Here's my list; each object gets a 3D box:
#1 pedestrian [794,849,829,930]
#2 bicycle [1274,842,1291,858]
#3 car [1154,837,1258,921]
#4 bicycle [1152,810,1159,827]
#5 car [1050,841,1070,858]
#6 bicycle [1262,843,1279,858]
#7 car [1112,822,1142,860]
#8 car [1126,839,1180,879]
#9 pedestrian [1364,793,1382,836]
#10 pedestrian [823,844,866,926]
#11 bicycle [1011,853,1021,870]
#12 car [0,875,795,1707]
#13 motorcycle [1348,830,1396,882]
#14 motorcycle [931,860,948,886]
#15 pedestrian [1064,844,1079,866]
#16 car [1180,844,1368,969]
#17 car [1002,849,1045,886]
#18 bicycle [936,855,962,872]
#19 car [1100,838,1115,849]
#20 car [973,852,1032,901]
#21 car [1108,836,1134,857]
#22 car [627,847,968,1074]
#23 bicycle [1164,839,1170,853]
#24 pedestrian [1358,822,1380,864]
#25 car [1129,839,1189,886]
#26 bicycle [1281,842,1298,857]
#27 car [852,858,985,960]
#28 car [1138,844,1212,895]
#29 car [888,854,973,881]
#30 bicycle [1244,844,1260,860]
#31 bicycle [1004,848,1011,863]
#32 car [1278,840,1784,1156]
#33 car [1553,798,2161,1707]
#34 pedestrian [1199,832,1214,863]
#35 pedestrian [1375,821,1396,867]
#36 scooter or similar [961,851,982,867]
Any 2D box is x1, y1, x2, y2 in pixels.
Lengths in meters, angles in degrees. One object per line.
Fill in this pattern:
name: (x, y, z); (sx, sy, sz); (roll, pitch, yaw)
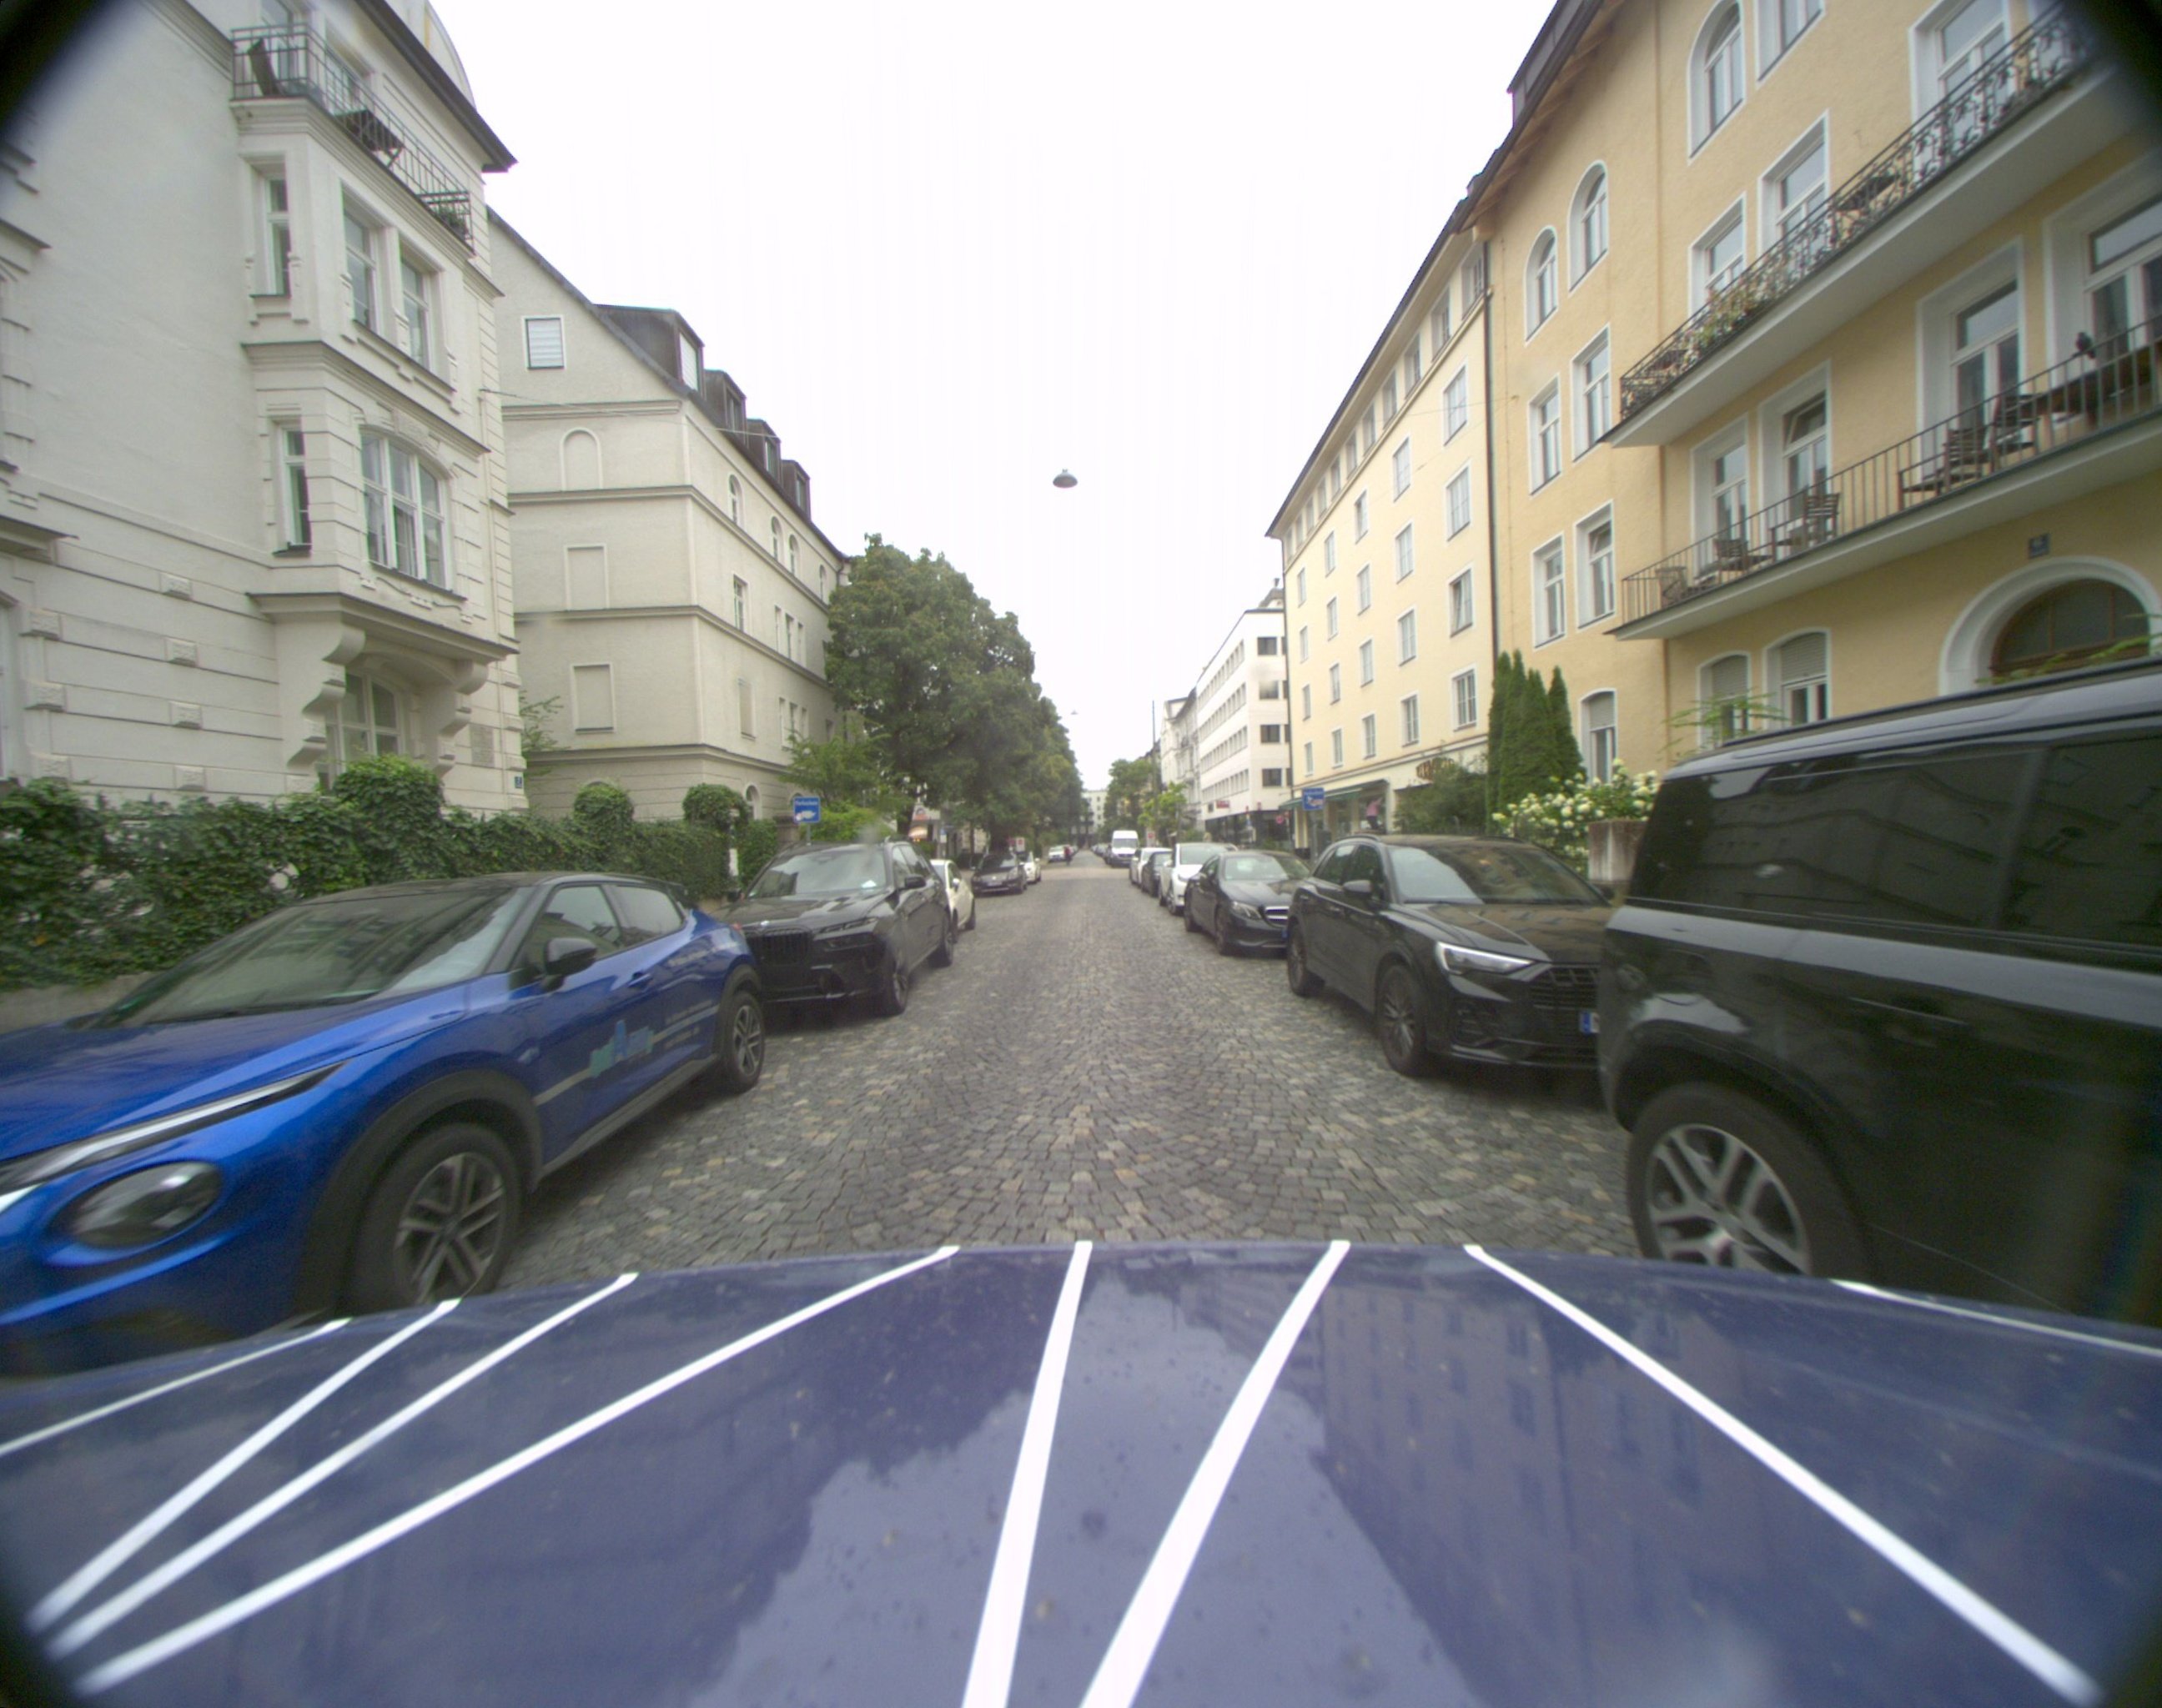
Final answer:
pedestrian: (-6.184, 0.793, 17.431); (0.630, 1.798, 0.659); (-4, 2, -21)
bicycle: (12.945, -0.272, 48.909); (0.398, 0.963, 1.893); (-4, 2, -5)
car: (2.823, 0.476, 18.071); (1.778, 1.638, 4.390); (-3, 2, 1)
bicycle: (5.183, -2.486, 52.956); (0.256, 1.120, 1.806); (-3, 2, 0)
car: (-2.275, -0.502, 83.547); (1.925, 1.676, 4.632); (-3, 2, 1)
bicycle: (12.152, -0.234, 48.820); (0.398, 0.963, 1.893); (-4, 2, -5)
car: (3.260, -0.972, 54.470); (1.982, 2.560, 5.793); (-1, 2, 2)
car: (3.220, 0.169, 34.859); (1.857, 1.577, 4.746); (-3, 2, -1)
pedestrian: (11.190, -1.506, 29.103); (0.478, 1.633, 0.497); (-3, 2, 5)
pedestrian: (-5.440, 0.702, 17.520); (0.577, 1.840, 0.682); (-3, 2, 8)
bicycle: (-4.853, 0.538, 56.679); (0.389, 1.140, 1.590); (-2, 2, 7)
car: (-2.987, 1.022, 3.488); (1.713, 1.473, 4.248); (-5, 2, -2)
motorcycle: (6.989, 0.028, 18.308); (0.492, 1.187, 1.579); (-3, 2, 0)
motorcycle: (-6.371, 0.842, 34.191); (0.363, 1.084, 1.403); (-3, 2, 3)
pedestrian: (-0.790, 0.104, 63.816); (1.105, 1.768, 1.263); (-3, 2, 1)
car: (2.734, 0.638, 11.812); (1.778, 1.421, 4.389); (-3, 2, 1)
car: (-2.586, 0.559, 34.821); (1.505, 1.463, 3.794); (-3, 2, 2)
bicycle: (-9.306, 0.664, 53.513); (1.605, 1.064, 0.738); (-1, 5, 3)
car: (3.715, -1.511, 108.473); (1.886, 1.411, 4.807); (-3, 1, 0)
car: (-2.847, 0.766, 28.387); (1.652, 1.414, 4.630); (-6, 2, -1)
car: (3.120, -0.602, 60.033); (1.666, 1.474, 3.980); (-3, 2, -2)
car: (-2.719, 0.848, 8.953); (1.880, 1.663, 5.489); (-3, 2, 0)
bicycle: (7.879, -0.755, 69.481); (0.361, 1.168, 1.910); (-3, 2, 3)
pedestrian: (11.311, -0.432, 29.845); (0.523, 1.633, 0.629); (-3, 2, 0)
car: (2.918, 0.256, 29.341); (1.778, 1.527, 4.539); (-3, 2, 0)
bicycle: (13.410, -0.303, 48.957); (0.398, 0.963, 1.893); (-4, 2, -5)
car: (-2.967, 0.935, 14.643); (1.634, 1.461, 3.658); (-5, 2, 0)
car: (2.916, 0.423, 24.435); (1.778, 1.352, 4.389); (-3, 2, 0)
car: (-8.747, 0.767, 44.461); (4.476, 1.350, 1.761); (-2, 1, 8)
bicycle: (10.967, -0.159, 48.692); (0.398, 0.963, 1.893); (-4, 2, -5)
bicycle: (-6.398, 0.107, 66.113); (0.428, 1.191, 1.730); (2, 2, 1)
car: (2.850, 0.714, 5.959); (1.583, 1.581, 4.055); (-1, 2, 1)
car: (2.740, 0.757, 0.466); (1.987, 1.727, 4.722); (-3, 1, 1)
pedestrian: (7.632, -0.424, 46.169); (0.615, 1.830, 0.813); (-3, 2, -6)
pedestrian: (11.372, -0.393, 28.376); (0.462, 1.681, 0.574); (-3, 2, 1)
scooter or similar: (-8.401, 0.410, 58.264); (1.604, 1.166, 0.405); (-1, 3, 24)
